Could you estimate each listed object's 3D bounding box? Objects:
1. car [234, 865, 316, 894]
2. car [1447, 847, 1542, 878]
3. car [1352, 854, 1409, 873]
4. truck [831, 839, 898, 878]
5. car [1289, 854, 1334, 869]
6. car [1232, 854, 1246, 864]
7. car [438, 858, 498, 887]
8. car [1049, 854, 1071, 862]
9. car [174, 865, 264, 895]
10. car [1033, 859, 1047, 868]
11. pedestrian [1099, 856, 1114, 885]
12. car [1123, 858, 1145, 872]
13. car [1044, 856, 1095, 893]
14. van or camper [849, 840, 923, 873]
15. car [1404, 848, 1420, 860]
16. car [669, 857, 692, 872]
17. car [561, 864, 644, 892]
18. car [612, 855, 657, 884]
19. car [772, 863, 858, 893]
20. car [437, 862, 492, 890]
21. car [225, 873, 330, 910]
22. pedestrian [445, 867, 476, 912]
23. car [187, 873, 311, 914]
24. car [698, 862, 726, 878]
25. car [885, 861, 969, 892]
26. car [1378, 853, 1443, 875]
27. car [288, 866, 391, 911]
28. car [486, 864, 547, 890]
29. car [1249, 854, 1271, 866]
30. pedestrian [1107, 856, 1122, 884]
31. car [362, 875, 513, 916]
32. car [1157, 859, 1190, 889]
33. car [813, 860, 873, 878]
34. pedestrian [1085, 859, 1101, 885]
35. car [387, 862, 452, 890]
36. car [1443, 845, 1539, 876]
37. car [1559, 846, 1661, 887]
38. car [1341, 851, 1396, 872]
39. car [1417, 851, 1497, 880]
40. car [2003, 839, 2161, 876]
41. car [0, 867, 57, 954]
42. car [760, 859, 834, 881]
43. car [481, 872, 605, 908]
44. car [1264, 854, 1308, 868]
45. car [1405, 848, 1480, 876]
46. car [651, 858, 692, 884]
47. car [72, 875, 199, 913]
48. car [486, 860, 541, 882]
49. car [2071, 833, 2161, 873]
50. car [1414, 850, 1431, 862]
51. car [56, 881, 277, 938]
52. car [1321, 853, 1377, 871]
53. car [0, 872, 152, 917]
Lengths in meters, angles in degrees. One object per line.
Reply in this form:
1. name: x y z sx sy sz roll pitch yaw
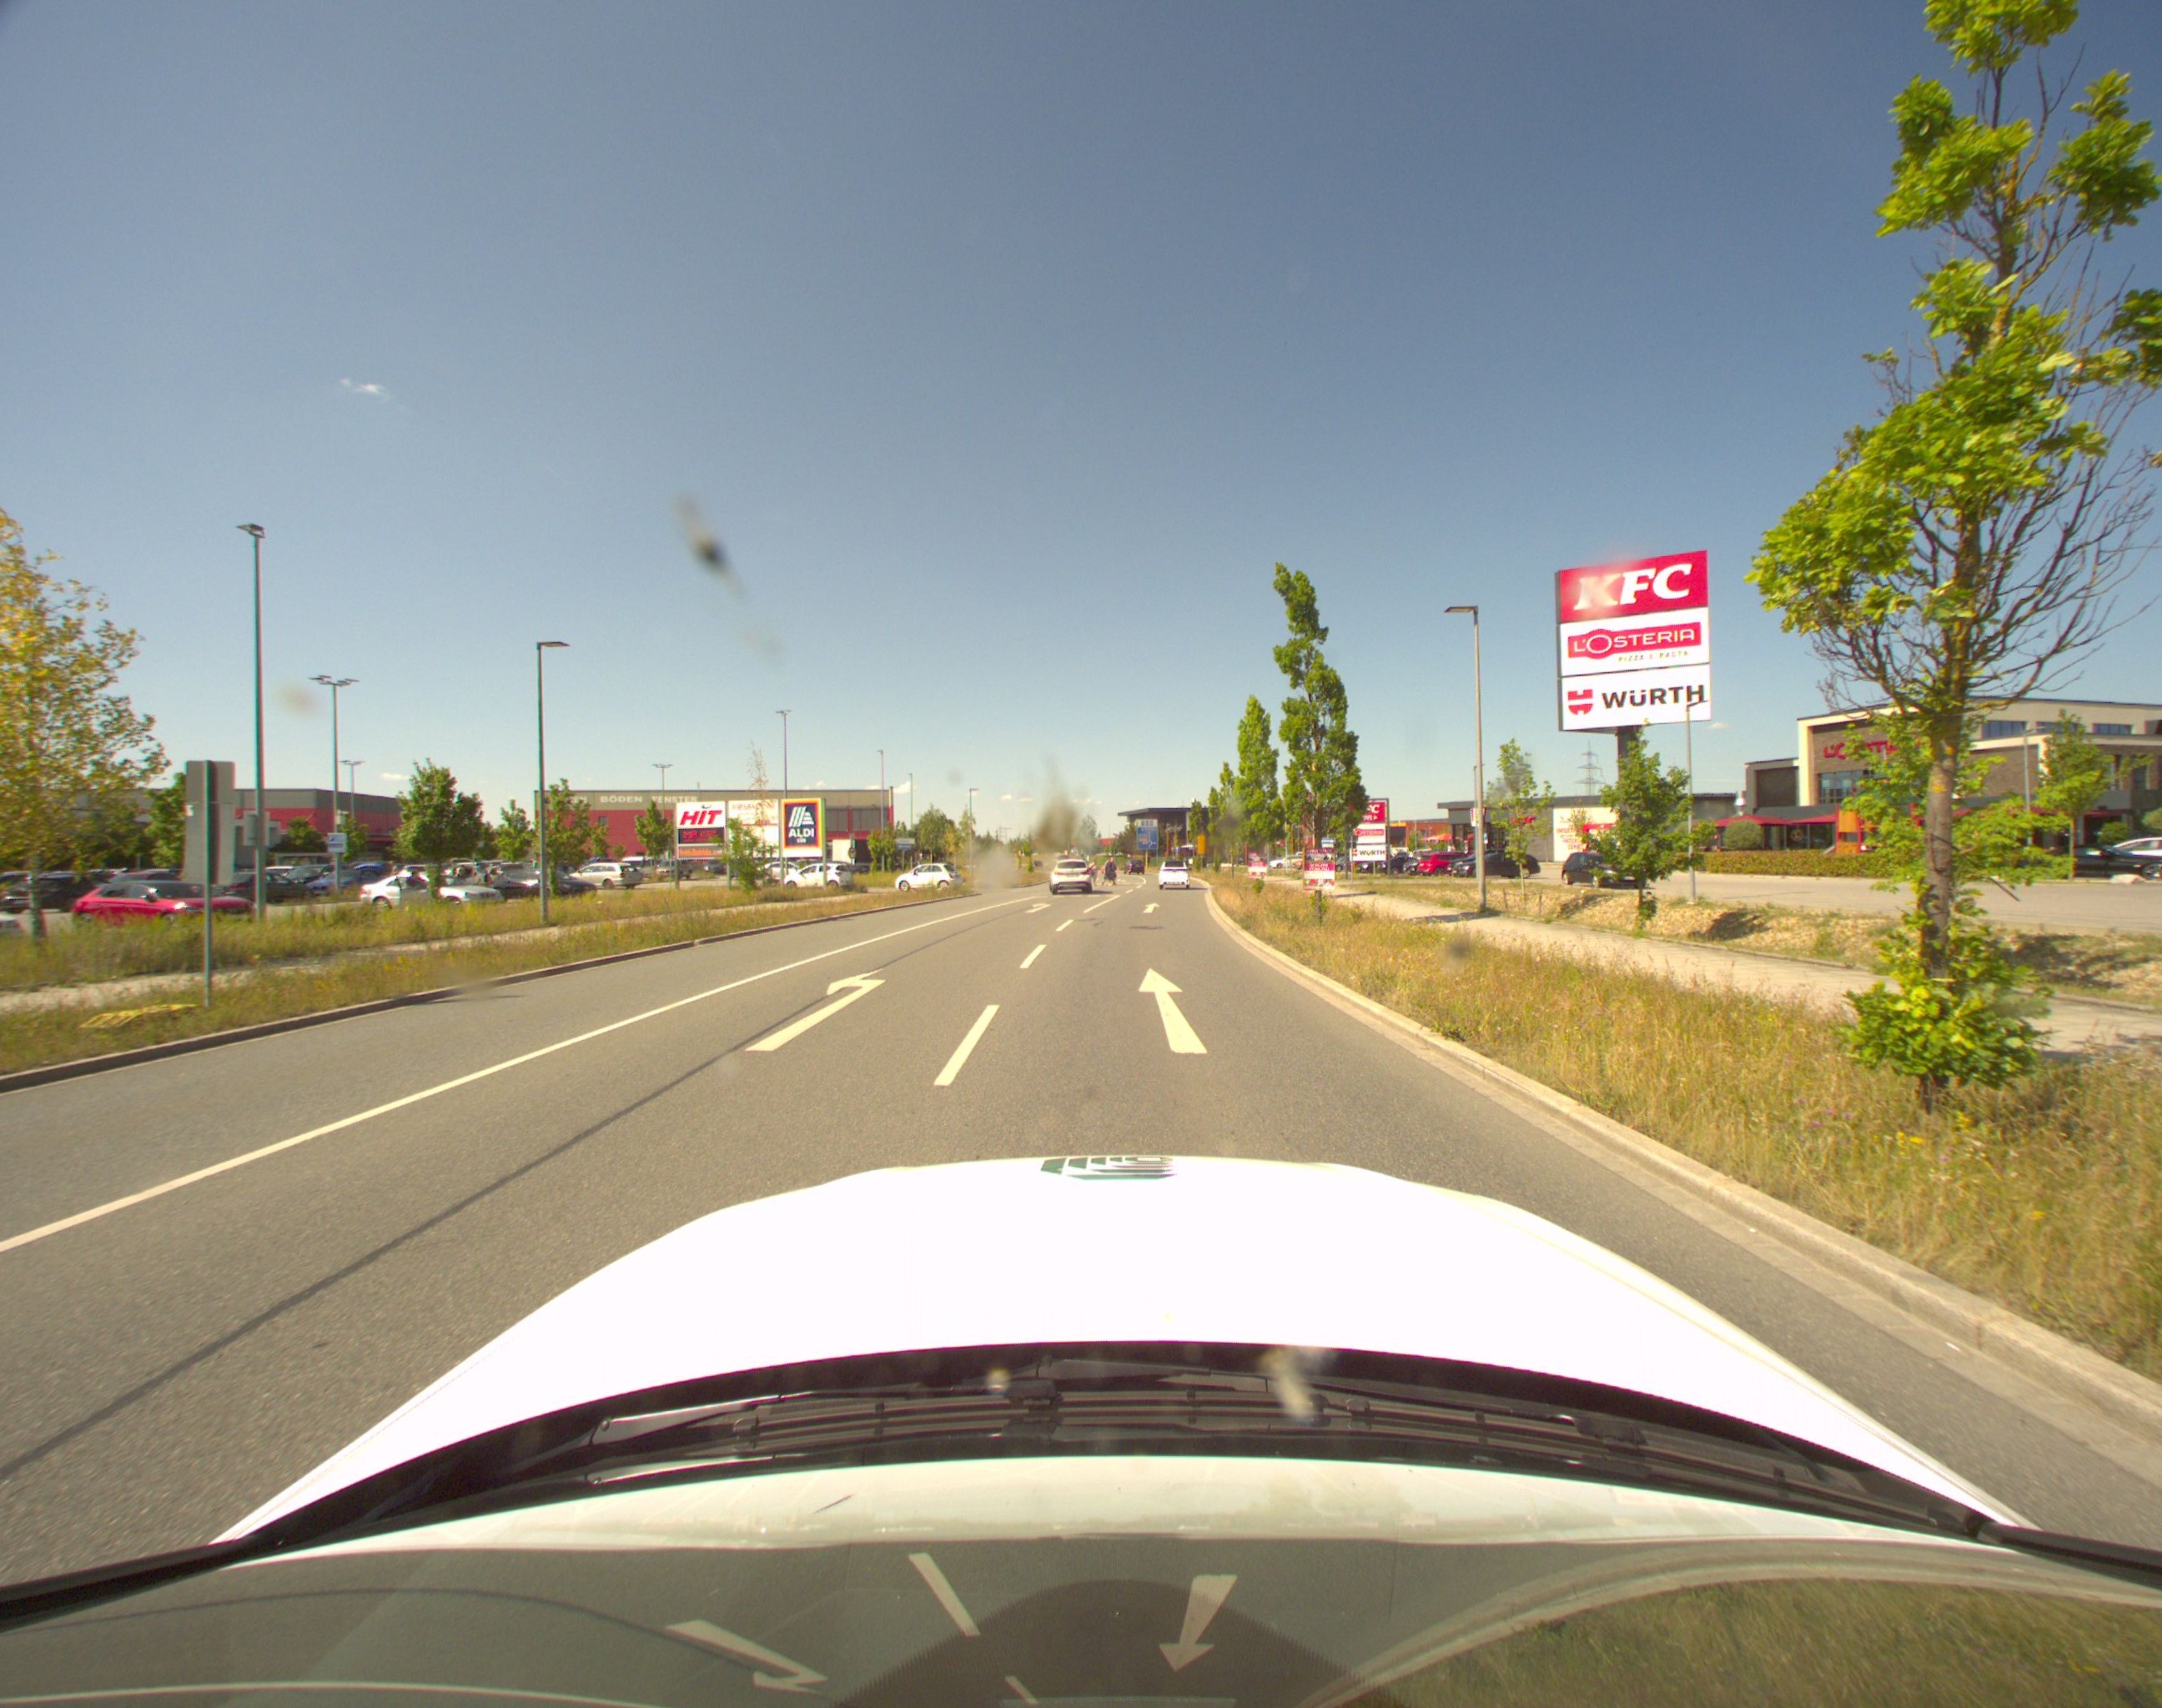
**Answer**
1. car: -50.777 1.549 51.422 1.916 1.725 4.355 -1 0 -18
2. car: 23.580 0.473 46.576 4.391 1.566 1.995 -2 0 0
3. car: 25.418 0.768 69.102 4.150 1.449 1.787 -2 0 -7
4. truck: -20.302 0.434 76.975 2.298 3.464 7.530 -1 0 19
5. car: 24.372 0.759 86.203 4.202 1.490 1.863 -2 0 -9
6. car: 24.868 0.754 128.335 1.779 1.604 4.016 -2 0 15
7. car: -44.875 1.333 59.717 1.834 2.024 4.612 -1 0 -14
8. car: -4.141 0.763 162.478 4.023 1.464 1.975 -1 0 -45
9. car: -53.185 1.576 50.374 1.916 1.718 4.355 -1 0 -18
10. car: -7.078 1.673 140.606 1.994 1.440 3.985 -1 0 -11
11. pedestrian: 1.470 0.924 46.408 0.805 1.628 0.867 0 -1 6
12. car: 5.451 1.135 84.390 1.615 1.434 3.782 -1 0 -8
13. car: -0.585 0.911 37.082 1.909 1.547 4.216 -1 0 -7
14. van or camper: -21.478 0.289 90.006 7.693 3.468 2.547 -1 -1 -10
15. car: 49.036 -0.008 120.770 1.769 1.757 4.194 -2 0 28
16. car: -44.563 1.120 90.719 1.665 1.615 4.060 -1 0 -17
17. car: -27.422 1.378 46.711 3.956 1.547 1.848 -1 -1 16
18. car: -33.821 1.134 61.809 1.834 2.065 4.361 -1 0 -14
19. car: -14.551 1.294 44.636 3.964 1.547 1.922 -1 0 8
20. car: -40.854 1.441 54.080 1.920 1.718 4.347 -1 0 -24
21. car: -39.319 1.770 40.005 1.715 1.581 4.332 -1 0 -15
22. pedestrian: -23.828 1.341 31.274 0.761 1.695 0.579 -1 -1 6
23. car: -35.206 1.625 34.633 1.715 1.516 4.332 -1 0 -15
24. car: -35.906 1.543 79.386 1.836 1.562 4.357 -1 0 -16
25. car: -8.233 1.215 43.705 3.959 1.547 1.924 -1 0 13
26. car: 24.639 0.739 61.001 4.368 1.449 1.801 -2 0 21
27. car: -36.615 1.629 40.406 1.715 1.986 4.809 -1 0 -15
28. car: -38.107 1.508 55.140 1.914 1.617 4.361 -1 0 -14
29. car: 22.942 0.735 104.311 1.681 1.462 4.194 -2 0 28
30. pedestrian: 1.909 0.913 46.961 0.797 1.630 0.806 0 -1 6
31. car: -23.654 1.514 30.033 4.124 1.348 1.939 -1 0 5
32. car: 4.759 0.994 41.830 1.608 1.434 3.799 -1 0 7
33. car: -19.882 1.260 68.231 4.409 1.383 1.975 -1 0 0
34. pedestrian: 0.698 1.024 46.533 0.789 1.470 0.950 0 -1 6
35. car: -43.374 1.414 53.494 1.917 1.726 4.353 -1 0 -20
36. car: 25.430 0.403 50.583 4.965 1.734 1.939 -2 0 0
37. car: 21.380 0.481 33.122 1.771 1.540 4.177 -1 0 7
38. car: 25.209 0.655 71.575 4.142 1.665 1.868 -2 0 -1
39. car: 24.709 0.758 53.632 4.386 1.734 1.793 -2 0 4
40. car: 35.917 0.125 28.802 1.657 1.212 4.100 -1 0 -26
41. car: -25.335 1.271 17.585 4.126 1.861 1.934 -1 0 3
42. car: -20.030 1.117 57.586 4.592 1.512 1.837 -1 0 -1
43. car: -23.085 1.531 35.036 4.124 1.348 1.939 -1 0 5
44. car: 23.592 0.758 93.667 4.524 1.490 1.863 -2 0 -9
45. car: 25.272 0.550 57.045 4.388 1.734 1.792 -2 0 2
46. car: -31.422 1.280 62.637 1.834 1.823 4.361 -1 0 -14
47. car: -44.362 1.830 38.363 1.715 1.575 4.332 -1 0 -15
48. car: -42.125 1.247 60.558 1.834 1.582 4.361 -1 0 -14
49. car: 40.484 -0.055 30.399 1.705 1.471 4.196 -1 0 -26
50. car: 46.603 0.257 110.982 1.769 1.451 4.194 -2 0 28
51. car: -25.107 1.497 22.457 4.124 1.348 1.939 -1 0 5
52. car: 25.064 0.732 76.269 4.547 1.490 1.866 -2 0 -5
53. car: -40.214 1.572 32.679 1.715 1.561 4.332 -1 0 -15
